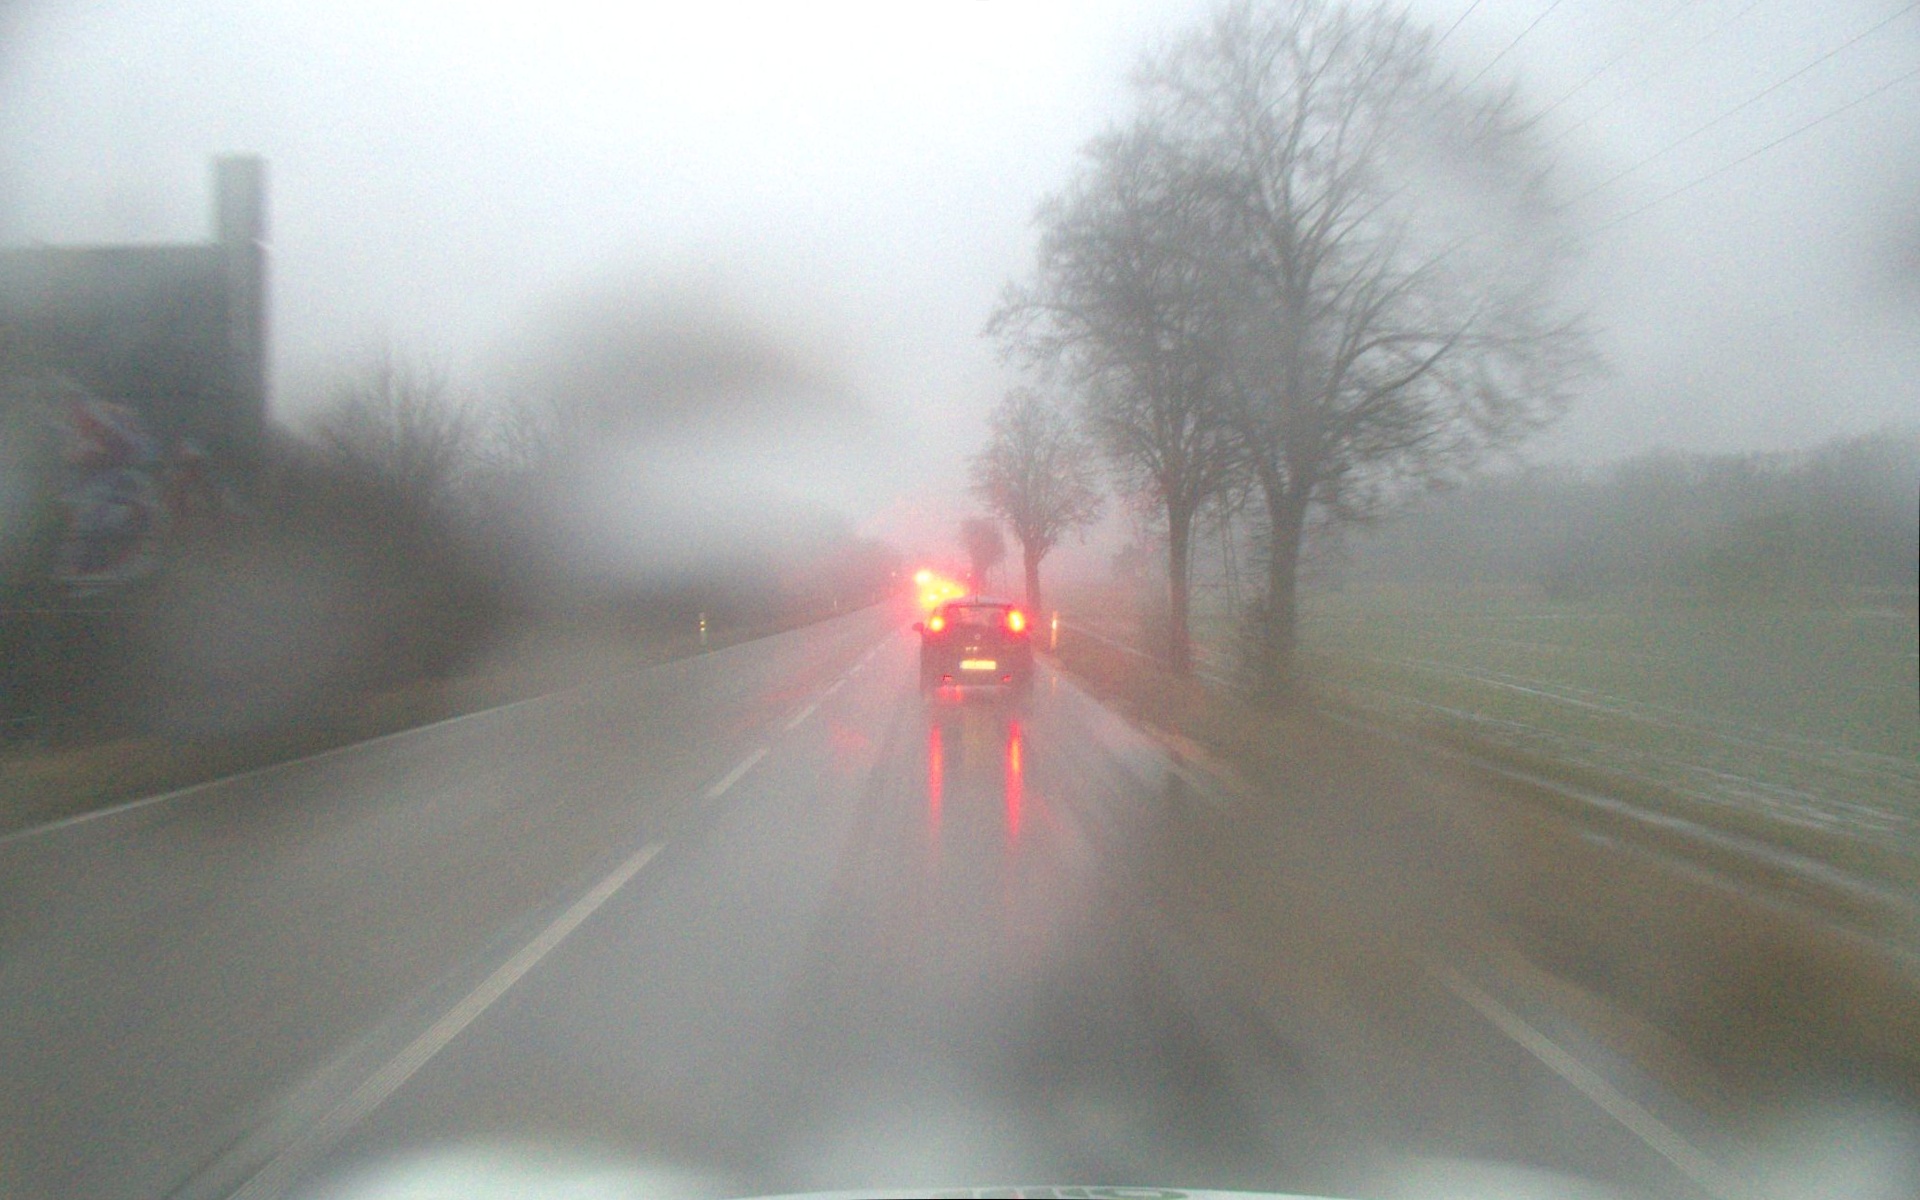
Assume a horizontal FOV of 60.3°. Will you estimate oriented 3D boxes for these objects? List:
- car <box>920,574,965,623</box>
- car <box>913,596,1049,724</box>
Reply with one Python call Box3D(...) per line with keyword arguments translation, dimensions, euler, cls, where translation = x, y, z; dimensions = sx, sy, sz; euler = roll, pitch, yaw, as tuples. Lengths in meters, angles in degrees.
Box3D(translation=(-0.852, -0.127, 82.750), dimensions=(1.952, 2.047, 4.003), euler=(4, 4, 2), cls="car")
Box3D(translation=(0.289, 0.857, 25.770), dimensions=(1.953, 1.782, 4.000), euler=(0, 1, 0), cls="car")
